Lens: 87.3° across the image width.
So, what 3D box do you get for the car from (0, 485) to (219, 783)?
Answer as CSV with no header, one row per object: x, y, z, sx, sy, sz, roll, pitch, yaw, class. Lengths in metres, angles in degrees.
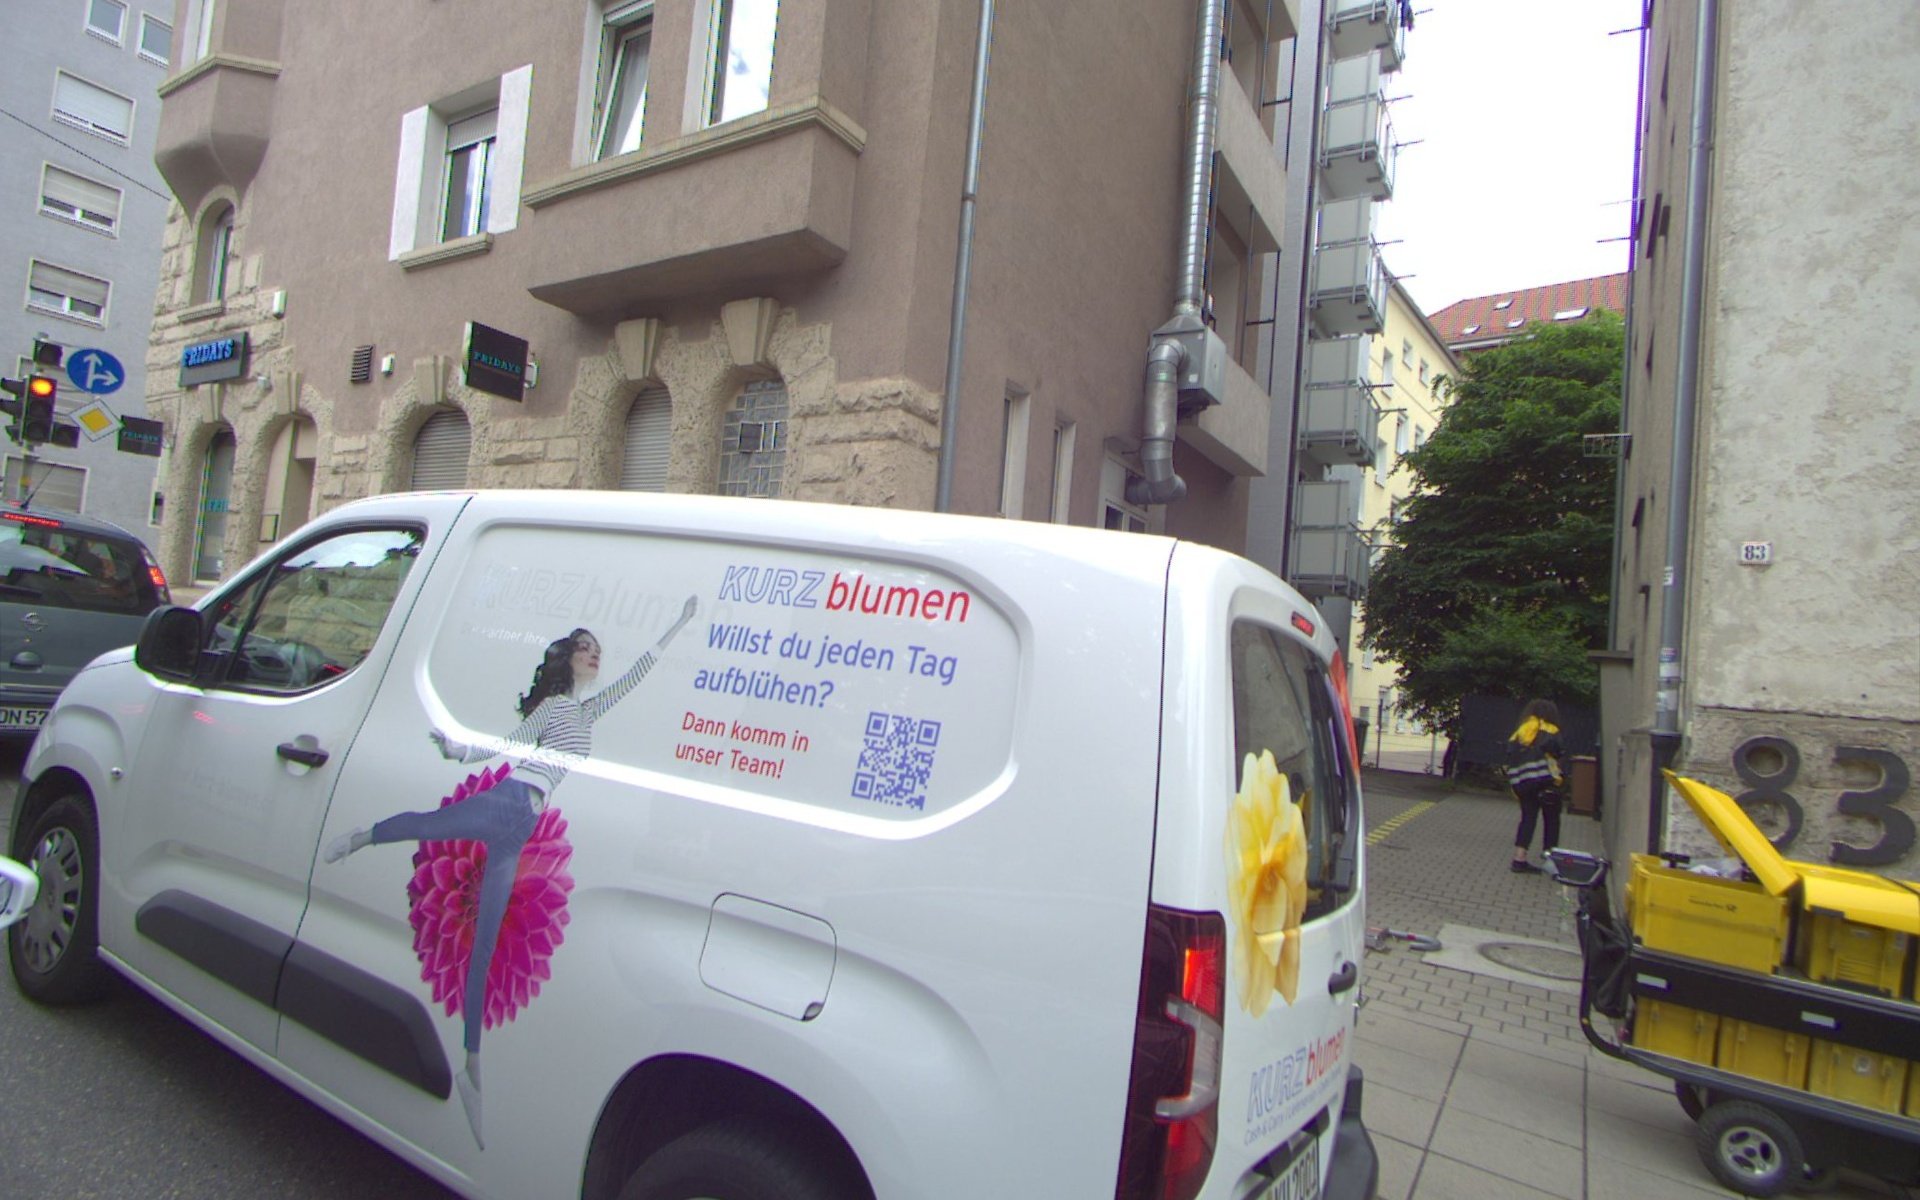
-6.713,0.045,6.535,3.608,1.614,1.634,6,-5,32,car

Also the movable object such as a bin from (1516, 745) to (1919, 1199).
3.396,1.457,3.964,1.979,1.391,1.223,6,0,30,movable object such as a bin

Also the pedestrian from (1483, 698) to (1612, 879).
5.808,1.832,9.981,0.769,1.665,0.811,2,-3,-5,pedestrian

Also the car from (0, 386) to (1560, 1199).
-0.927,0.571,3.150,4.597,1.793,1.983,6,-5,30,car

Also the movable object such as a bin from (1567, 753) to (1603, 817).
9.929,2.938,15.987,0.405,0.922,0.340,6,-1,32,movable object such as a bin

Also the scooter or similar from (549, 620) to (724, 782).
-2.700,0.809,8.345,1.400,1.117,0.527,6,-1,34,scooter or similar
